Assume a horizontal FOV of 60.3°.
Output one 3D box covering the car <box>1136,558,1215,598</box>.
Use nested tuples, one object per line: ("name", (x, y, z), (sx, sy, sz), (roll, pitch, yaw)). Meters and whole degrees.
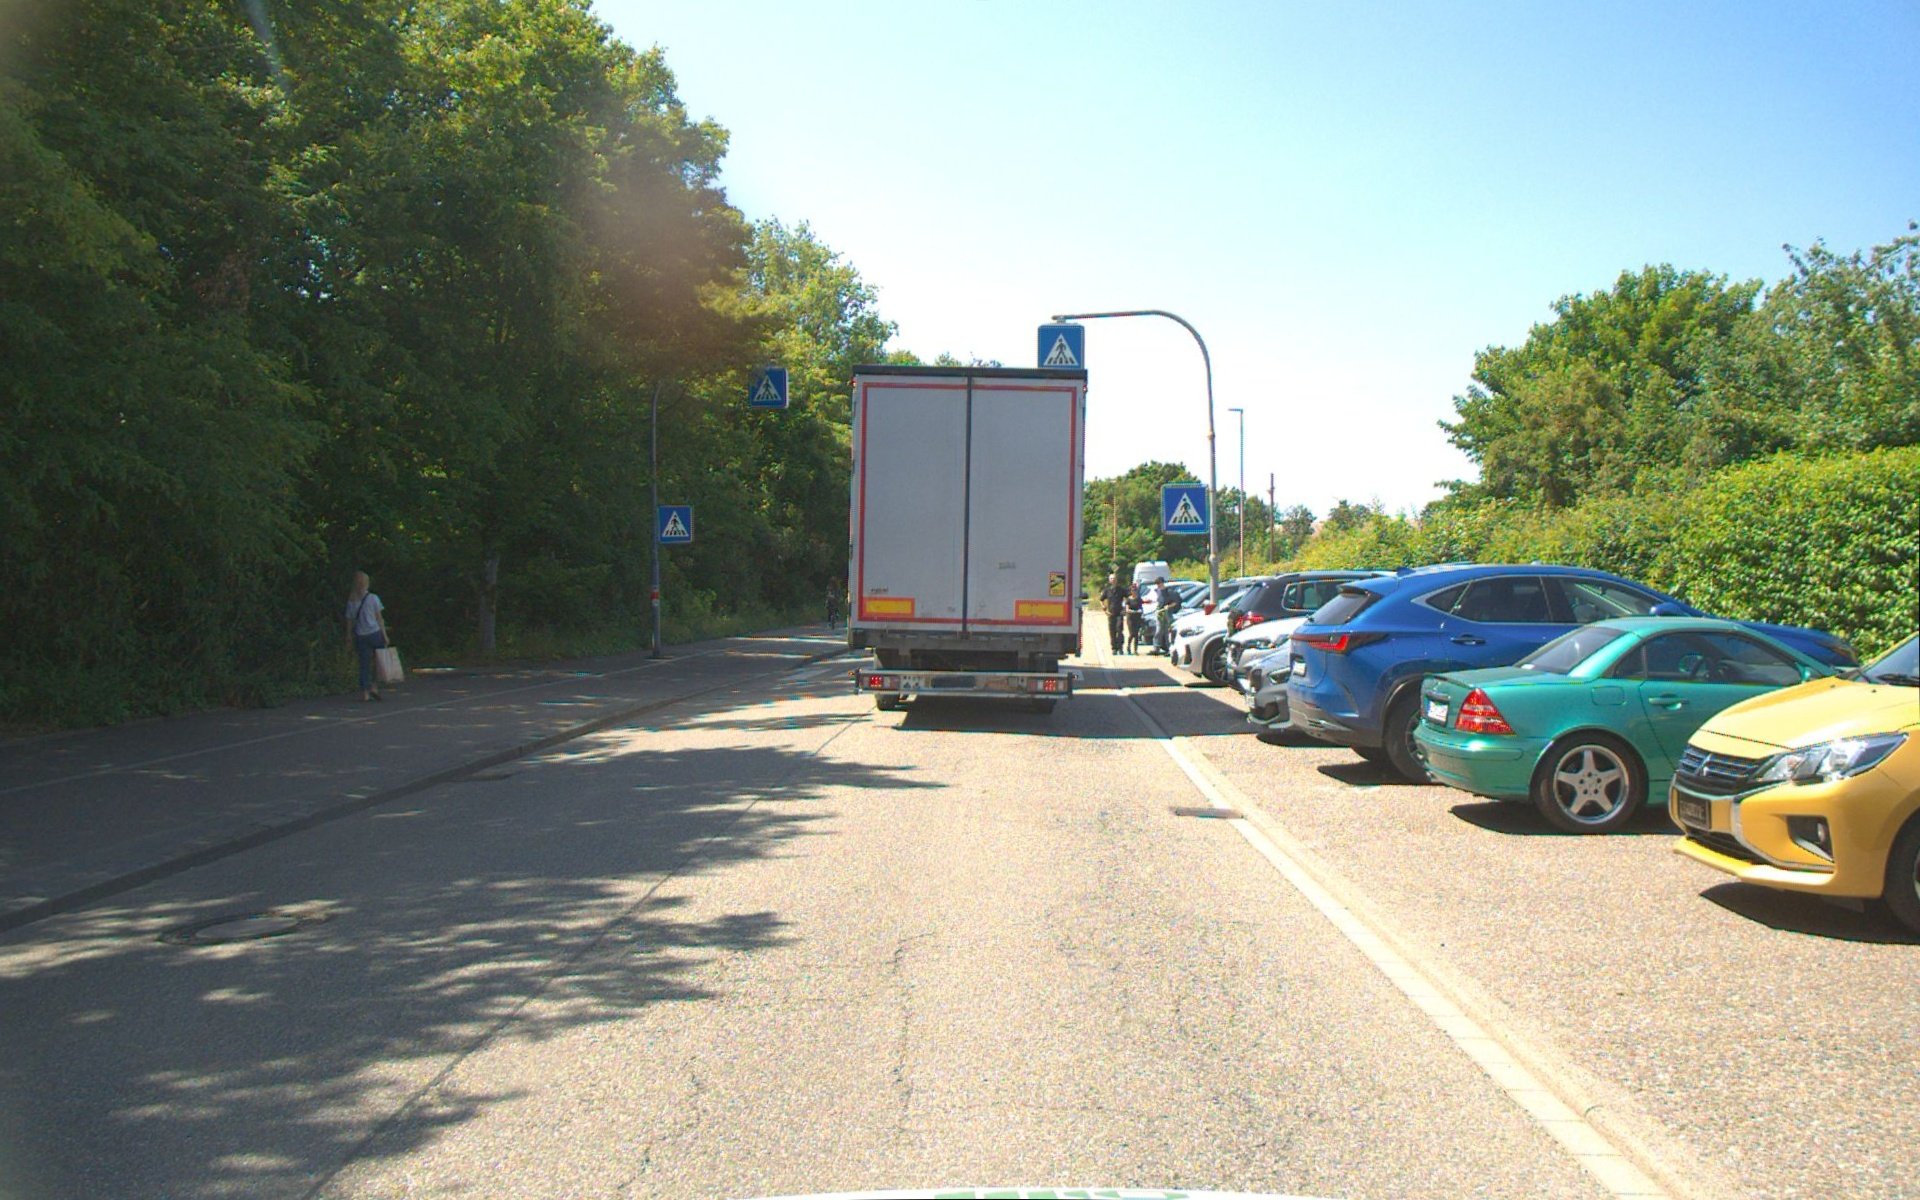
("car", (10.976, -1.117, 84.417), (3.873, 1.830, 1.814), (-2, -3, 4))

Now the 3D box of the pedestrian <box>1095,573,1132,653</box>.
("pedestrian", (3.692, 0.319, 39.722), (0.804, 1.866, 0.793), (-2, -1, 7))

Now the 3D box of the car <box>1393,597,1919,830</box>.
("car", (4.868, 0.687, 10.789), (3.657, 1.290, 1.628), (-2, -1, 2))

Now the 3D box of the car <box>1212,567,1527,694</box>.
("car", (5.739, 0.424, 23.563), (4.039, 1.686, 1.887), (-1, 0, 2))

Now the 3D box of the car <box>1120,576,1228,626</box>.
("car", (8.211, 0.019, 63.708), (3.876, 1.796, 1.813), (-1, 0, -2))

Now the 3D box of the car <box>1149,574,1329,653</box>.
("car", (6.593, 0.309, 39.395), (3.878, 1.697, 1.812), (-2, -1, -4))

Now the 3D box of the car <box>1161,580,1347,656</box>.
("car", (6.417, 0.393, 36.419), (3.872, 1.506, 1.815), (-2, -1, 6))

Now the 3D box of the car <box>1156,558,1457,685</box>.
("car", (5.417, 0.335, 26.247), (4.315, 1.728, 1.876), (-3, -1, -1))

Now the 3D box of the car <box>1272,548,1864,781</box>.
("car", (4.821, 0.496, 13.560), (4.151, 1.662, 1.823), (-2, 0, 0))

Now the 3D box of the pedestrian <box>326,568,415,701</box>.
("pedestrian", (-7.609, 0.436, 21.377), (0.811, 1.651, 0.783), (2, 0, -1))

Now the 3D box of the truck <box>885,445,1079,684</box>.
("truck", (0.465, -0.591, 29.733), (3.049, 3.790, 6.415), (1, 0, 2))

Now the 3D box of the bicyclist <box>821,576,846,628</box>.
("bicyclist", (-4.424, 0.086, 57.841), (0.701, 1.789, 0.796), (1, 0, 5))

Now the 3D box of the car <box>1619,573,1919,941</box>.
("car", (5.279, 0.589, 7.640), (3.723, 1.480, 1.774), (-2, -1, 0))

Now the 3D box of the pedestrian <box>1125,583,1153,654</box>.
("pedestrian", (4.204, 0.427, 38.925), (0.577, 1.643, 0.745), (-2, -1, 7))

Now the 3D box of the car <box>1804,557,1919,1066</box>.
("car", (4.880, 0.557, 4.589), (4.078, 1.521, 1.883), (-2, -1, 0))

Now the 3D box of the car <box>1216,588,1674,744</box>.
("car", (4.791, 0.633, 16.642), (4.051, 1.464, 1.812), (1, 0, -7))

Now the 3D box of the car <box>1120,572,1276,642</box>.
("car", (6.504, 0.165, 45.411), (3.880, 1.697, 1.812), (-2, 2, -6))

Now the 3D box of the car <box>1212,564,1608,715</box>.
("car", (5.199, 0.453, 19.520), (4.149, 1.683, 1.899), (0, -1, 0))

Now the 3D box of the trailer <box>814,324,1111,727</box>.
("trailer", (0.234, -0.829, 23.044), (3.048, 4.174, 11.540), (1, 0, 2))

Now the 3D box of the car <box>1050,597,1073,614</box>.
("car", (9.736, 0.509, 157.873), (1.743, 1.512, 4.003), (1, 0, 10))

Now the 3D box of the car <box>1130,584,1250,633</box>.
("car", (8.006, 0.287, 57.753), (3.876, 1.647, 1.813), (-1, 0, -2))

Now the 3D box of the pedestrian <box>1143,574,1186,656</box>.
("pedestrian", (4.668, 0.343, 37.800), (0.888, 1.830, 0.936), (-2, -1, 7))

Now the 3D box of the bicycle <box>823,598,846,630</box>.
("bicycle", (-4.382, 0.480, 57.867), (0.444, 1.065, 2.204), (1, 0, 4))
